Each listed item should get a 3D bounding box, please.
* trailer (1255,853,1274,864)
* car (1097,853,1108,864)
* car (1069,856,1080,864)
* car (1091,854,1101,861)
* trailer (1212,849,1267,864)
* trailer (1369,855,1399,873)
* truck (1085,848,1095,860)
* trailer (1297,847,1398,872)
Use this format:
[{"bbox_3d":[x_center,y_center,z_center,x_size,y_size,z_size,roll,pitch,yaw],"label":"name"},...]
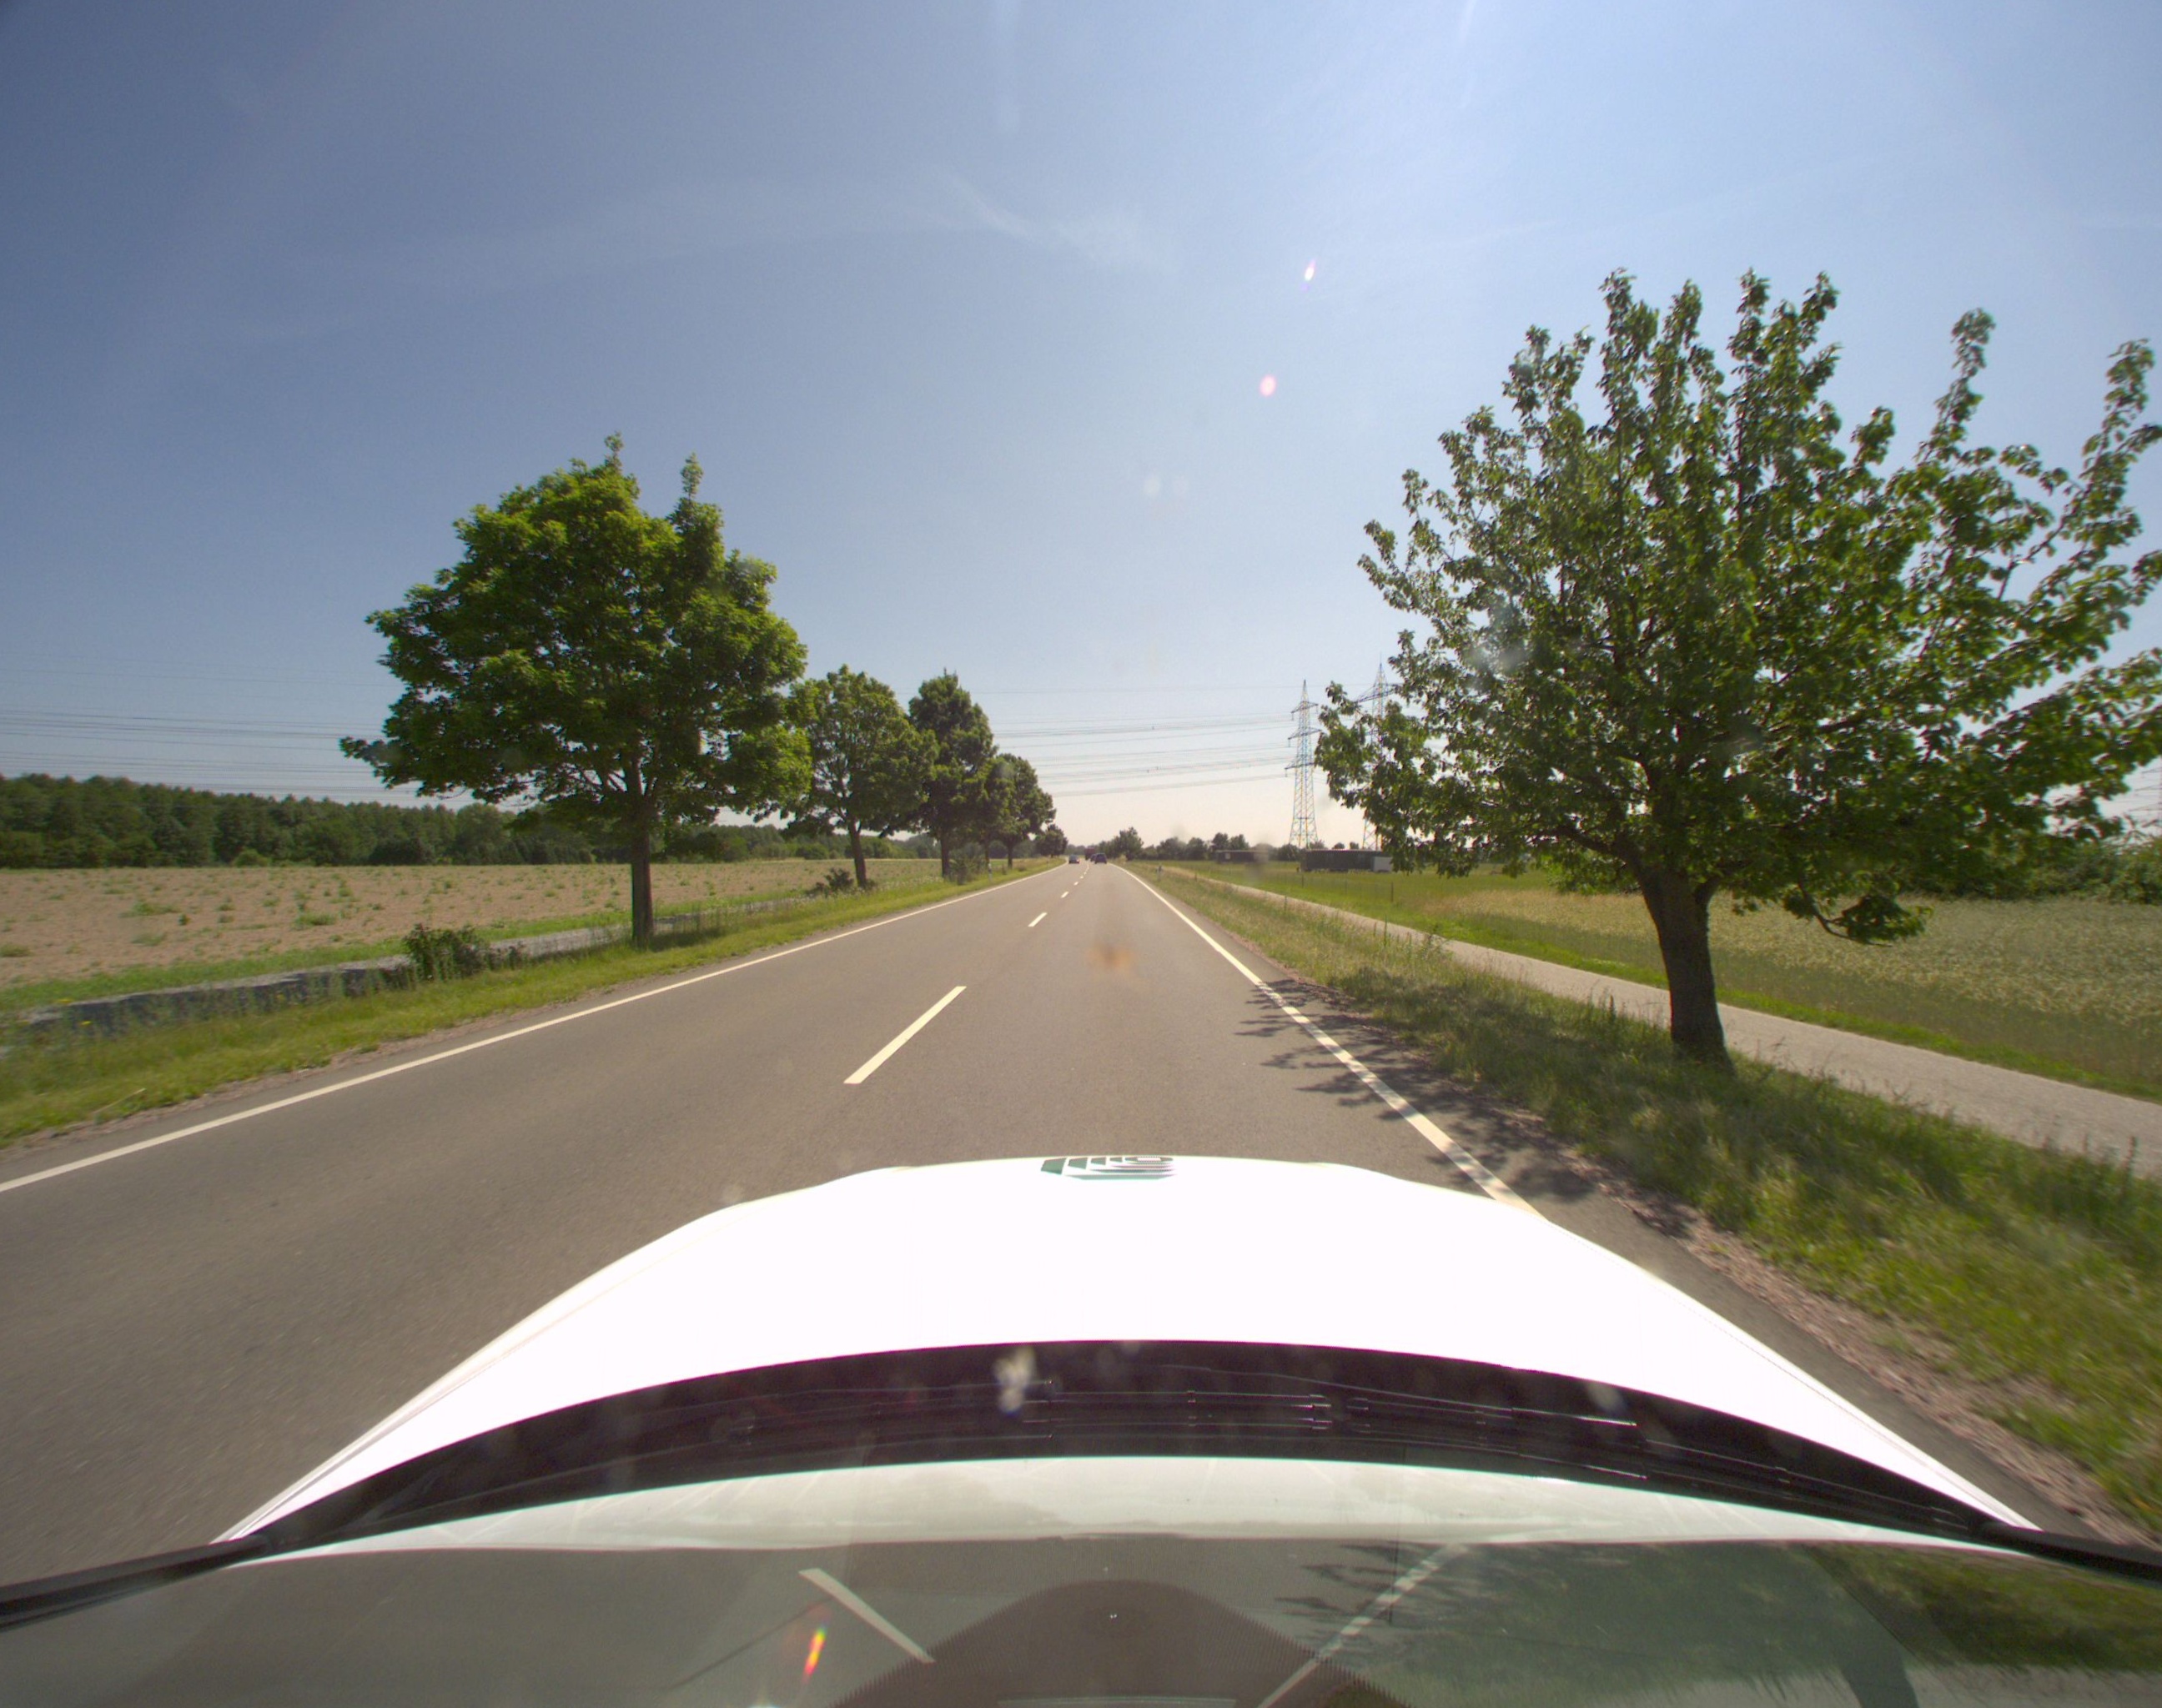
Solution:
[{"bbox_3d":[43.099,1.068,191.679,3.978,2.443,1.998,0,0,-3],"label":"trailer"},{"bbox_3d":[3.362,0.725,128.891,1.708,1.694,3.989,-1,0,1],"label":"car"},{"bbox_3d":[-1.102,1.058,135.519,1.700,1.332,3.998,-1,0,-1],"label":"car"},{"bbox_3d":[3.020,0.748,165.822,1.845,1.523,3.998,-1,0,-1],"label":"car"},{"bbox_3d":[37.805,0.541,194.399,12.383,3.473,3.801,0,0,-4],"label":"trailer"},{"bbox_3d":[42.541,1.415,114.421,3.397,2.462,2.037,0,0,-1],"label":"trailer"},{"bbox_3d":[2.350,0.069,213.154,2.364,3.140,8.740,-1,0,-2],"label":"truck"},{"bbox_3d":[38.288,0.755,117.149,13.469,3.475,3.275,0,0,-1],"label":"trailer"}]
